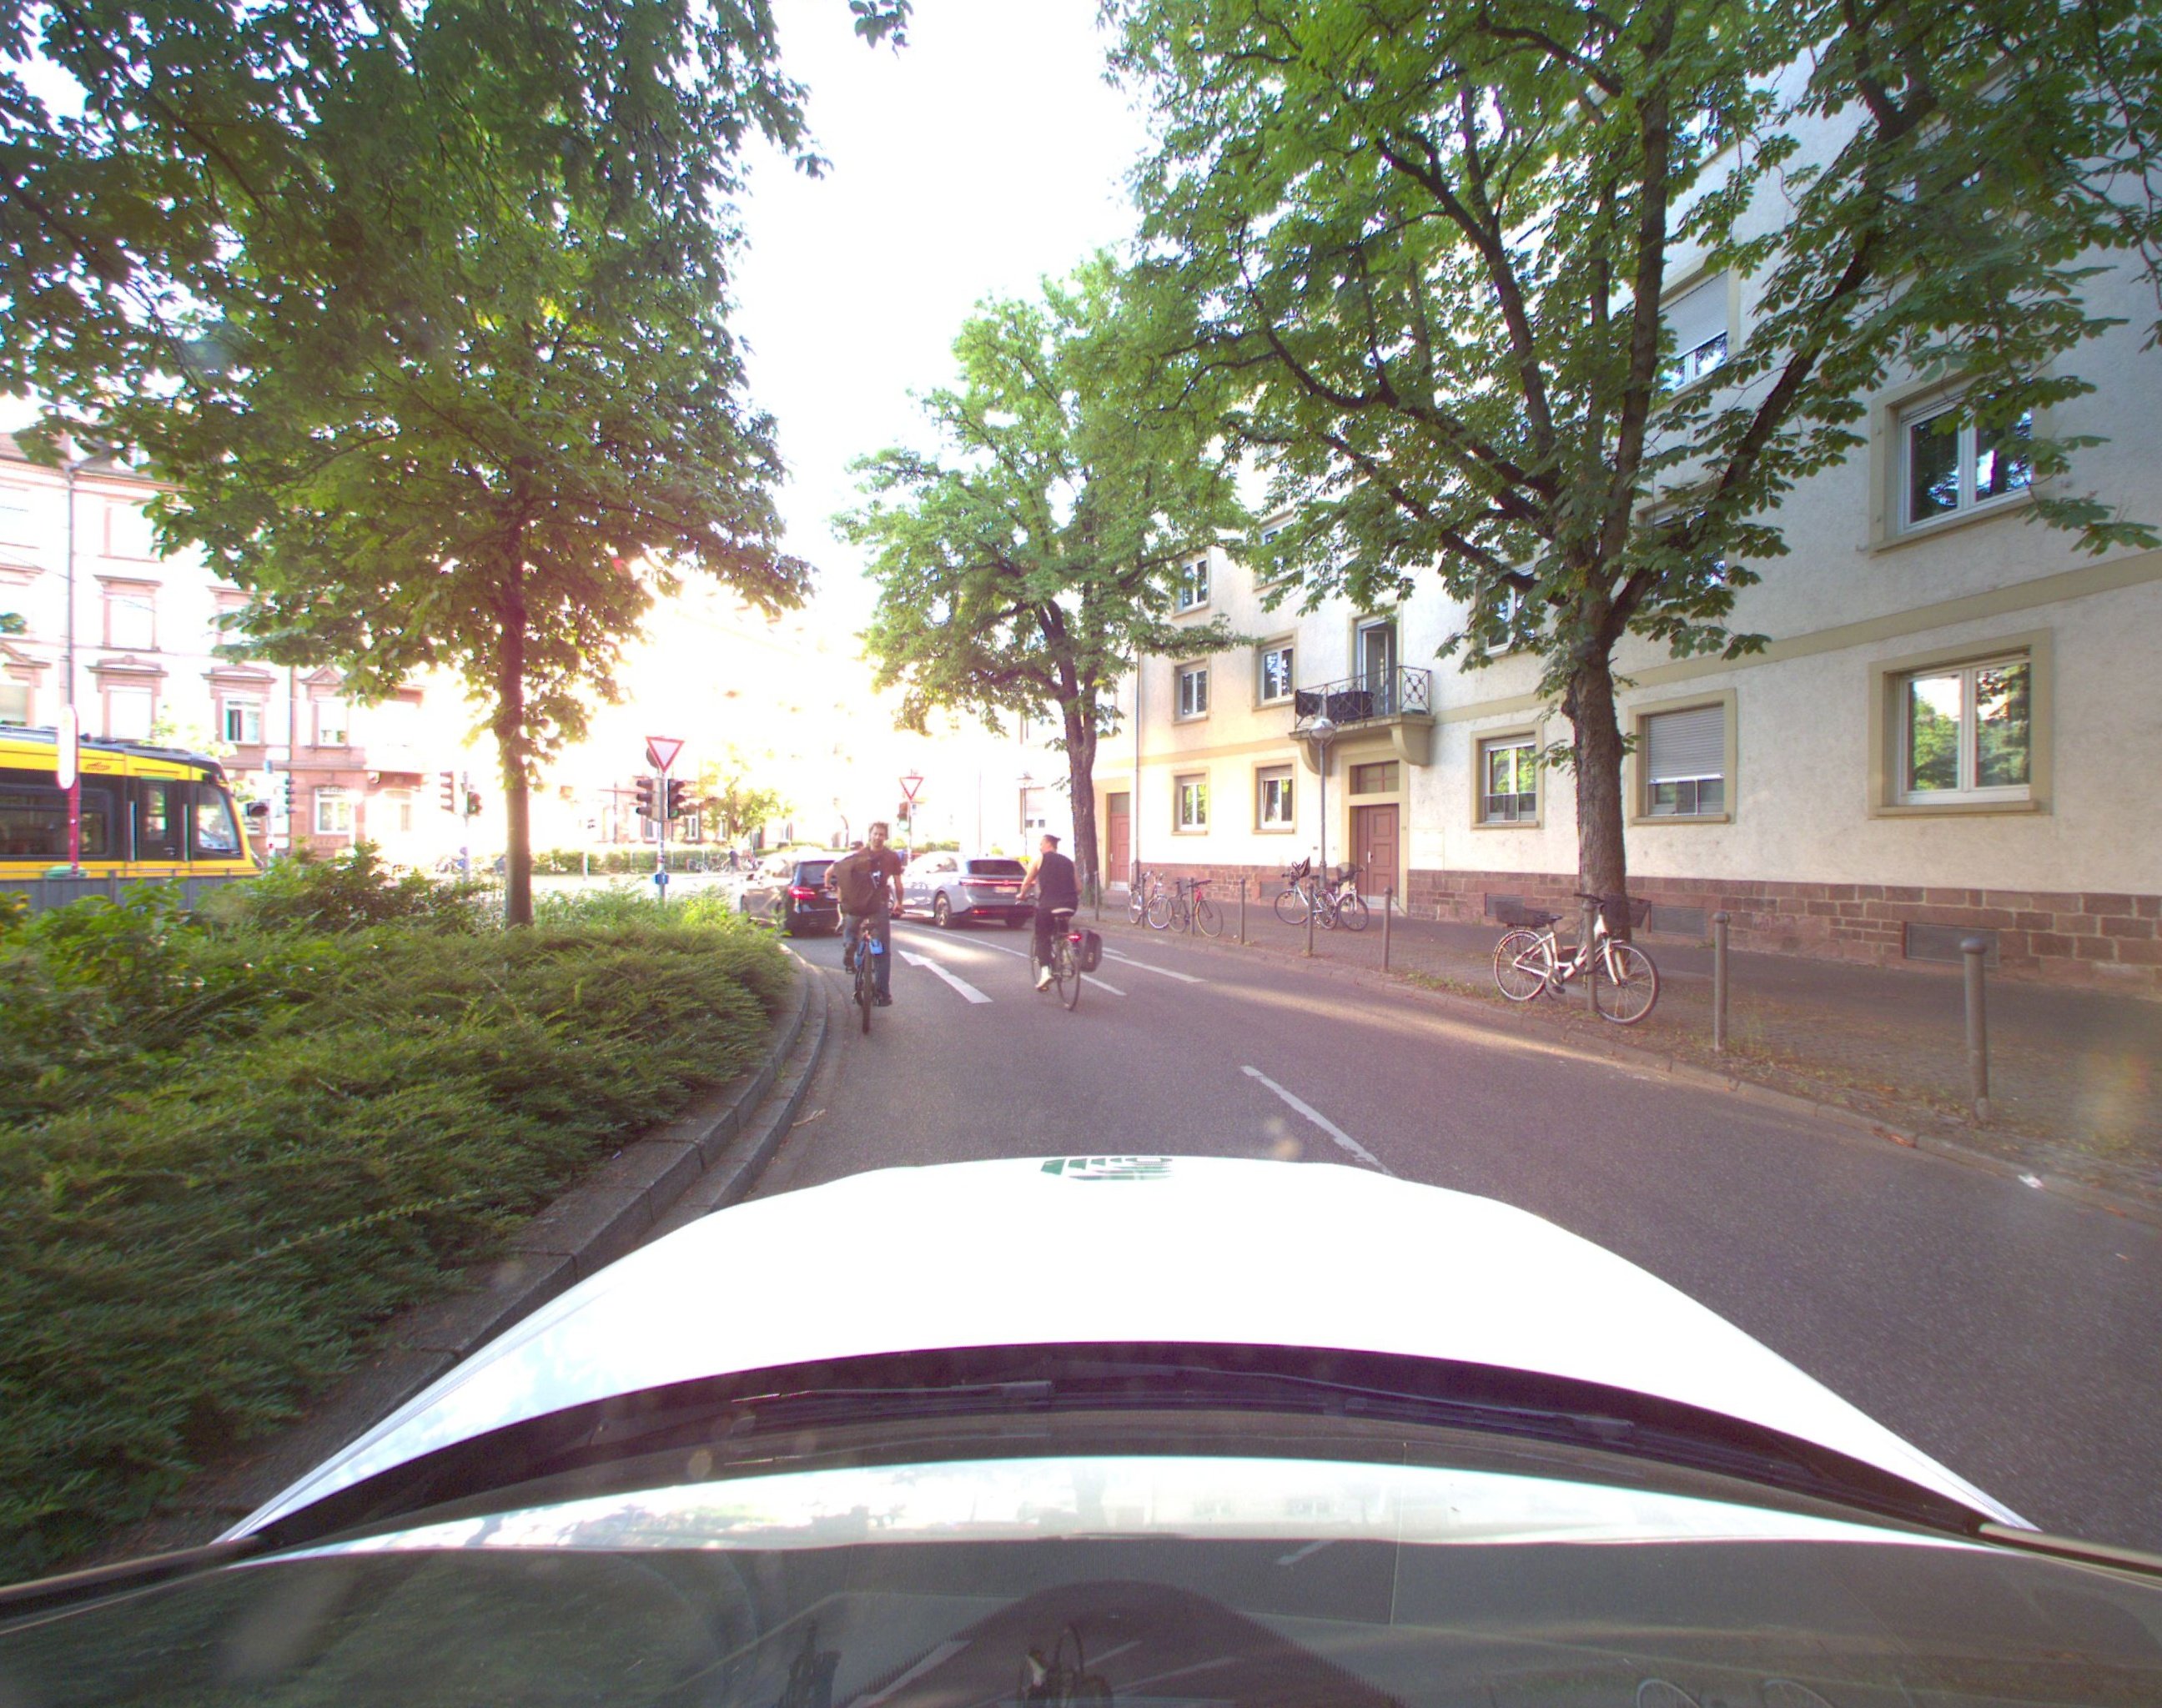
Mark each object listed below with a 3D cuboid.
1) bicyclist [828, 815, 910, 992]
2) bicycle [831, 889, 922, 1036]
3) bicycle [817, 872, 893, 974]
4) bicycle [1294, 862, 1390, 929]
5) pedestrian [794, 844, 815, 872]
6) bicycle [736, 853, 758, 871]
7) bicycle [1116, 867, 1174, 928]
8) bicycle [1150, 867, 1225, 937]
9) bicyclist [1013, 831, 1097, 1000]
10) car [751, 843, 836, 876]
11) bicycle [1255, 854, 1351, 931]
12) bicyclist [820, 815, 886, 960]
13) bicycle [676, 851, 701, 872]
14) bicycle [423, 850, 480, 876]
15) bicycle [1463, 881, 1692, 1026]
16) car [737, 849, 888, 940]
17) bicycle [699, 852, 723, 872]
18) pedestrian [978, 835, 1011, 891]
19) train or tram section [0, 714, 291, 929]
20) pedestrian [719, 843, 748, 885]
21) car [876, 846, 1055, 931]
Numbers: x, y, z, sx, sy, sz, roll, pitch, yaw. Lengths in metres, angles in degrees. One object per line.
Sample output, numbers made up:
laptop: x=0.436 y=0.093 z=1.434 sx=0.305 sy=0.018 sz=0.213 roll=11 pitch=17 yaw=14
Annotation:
bicyclist: x=-2.039 y=0.435 z=7.801 sx=0.708 sy=1.573 sz=0.952 roll=1 pitch=0 yaw=-16
bicycle: x=-1.980 y=0.930 z=7.706 sx=0.719 sy=1.107 sz=1.955 roll=1 pitch=0 yaw=-17
bicycle: x=-3.157 y=0.879 z=11.245 sx=0.813 sy=1.184 sz=2.211 roll=0 pitch=0 yaw=-21
bicycle: x=4.725 y=0.715 z=14.900 sx=0.669 sy=1.107 sz=1.955 roll=1 pitch=0 yaw=-17
pedestrian: x=-16.976 y=0.242 z=49.983 sx=0.703 sy=1.664 sz=0.904 roll=4 pitch=2 yaw=36
bicycle: x=-19.738 y=0.455 z=48.141 sx=0.438 sy=1.038 sz=1.240 roll=1 pitch=1 yaw=24
bicycle: x=1.242 y=0.825 z=16.085 sx=0.482 sy=1.063 sz=1.625 roll=-3 pitch=2 yaw=-20
bicycle: x=1.880 y=0.823 z=14.565 sx=0.528 sy=1.107 sz=1.728 roll=-3 pitch=2 yaw=-21
bicyclist: x=-0.290 y=0.599 z=8.581 sx=0.687 sy=1.656 sz=0.985 roll=-1 pitch=0 yaw=-13
car: x=-15.354 y=0.274 z=43.691 sx=1.926 sy=1.650 sz=4.432 roll=0 pitch=0 yaw=20
bicycle: x=4.014 y=0.657 z=14.901 sx=0.719 sy=1.277 sz=1.954 roll=-1 pitch=1 yaw=-18
bicyclist: x=-3.183 y=0.445 z=11.311 sx=0.797 sy=1.913 sz=0.938 roll=1 pitch=0 yaw=-21
bicycle: x=-21.398 y=0.419 z=44.442 sx=0.438 sy=1.107 sz=1.241 roll=1 pitch=1 yaw=25
bicycle: x=-28.104 y=0.397 z=36.386 sx=1.975 sy=1.107 sz=0.438 roll=2 pitch=-1 yaw=-38
bicycle: x=4.533 y=0.841 z=7.625 sx=0.514 sy=1.095 sz=1.962 roll=-2 pitch=1 yaw=-18
car: x=-5.457 y=0.703 z=16.279 sx=1.803 sy=1.542 sz=3.818 roll=-2 pitch=1 yaw=-35
bicycle: x=-20.771 y=0.451 z=45.732 sx=0.438 sy=1.107 sz=1.241 roll=1 pitch=1 yaw=25
pedestrian: x=-2.805 y=0.281 z=26.312 sx=0.648 sy=1.727 sz=0.878 roll=-3 pitch=2 yaw=-37
train or tram section: x=-20.178 y=-0.555 z=12.274 sx=2.769 sy=3.619 sz=11.857 roll=1 pitch=0 yaw=19
pedestrian: x=-13.914 y=0.411 z=32.655 sx=0.902 sy=1.635 sz=0.722 roll=2 pitch=0 yaw=-13
car: x=-2.623 y=0.661 z=17.633 sx=1.985 sy=1.585 sz=4.426 roll=3 pitch=-1 yaw=-35
